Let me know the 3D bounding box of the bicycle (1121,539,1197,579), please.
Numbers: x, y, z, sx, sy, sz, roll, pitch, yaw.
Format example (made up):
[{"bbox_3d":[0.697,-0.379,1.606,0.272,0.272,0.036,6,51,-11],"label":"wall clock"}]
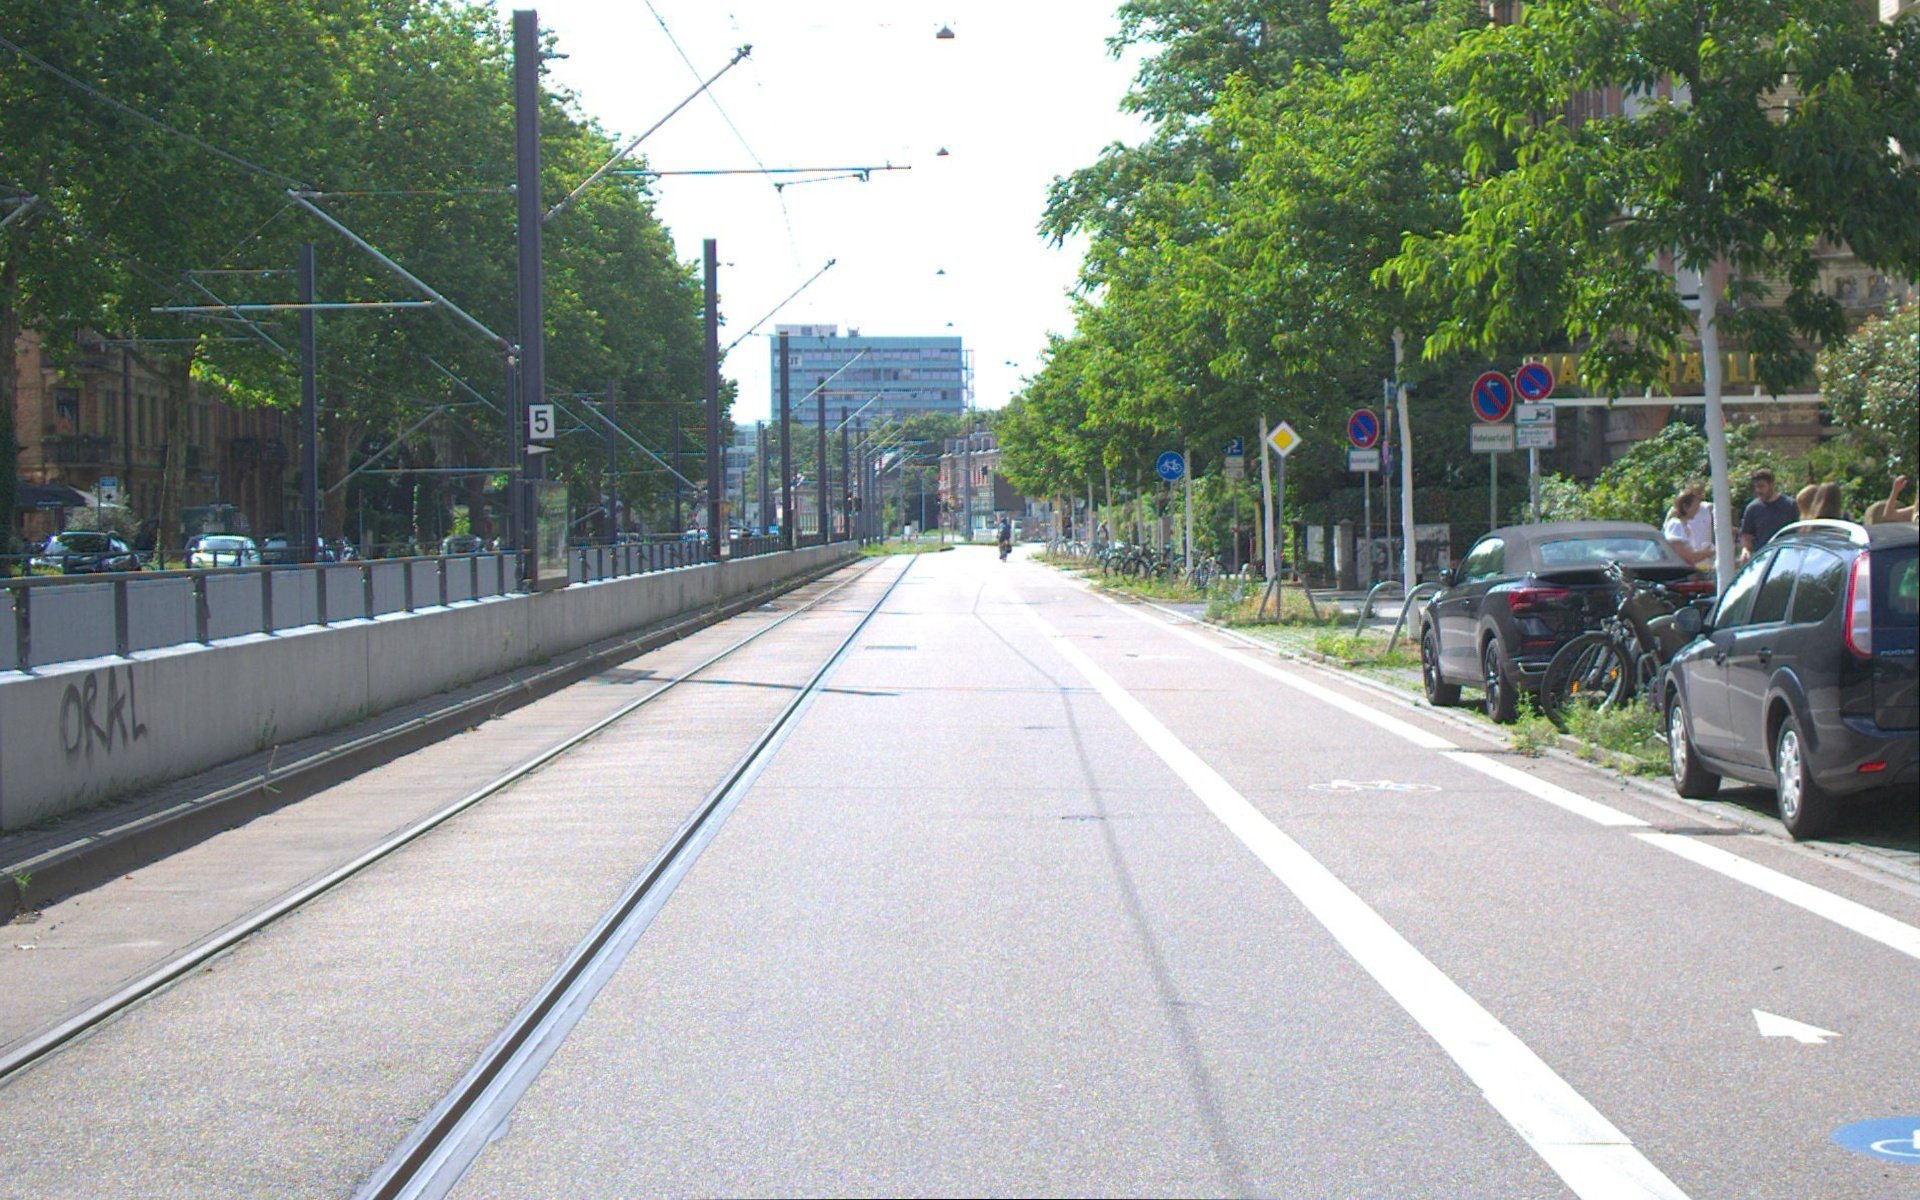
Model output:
[{"bbox_3d":[5.025,-1.035,86.848,1.816,0.899,0.652,-3,2,-3],"label":"bicycle"}]

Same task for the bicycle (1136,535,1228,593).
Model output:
[{"bbox_3d":[4.783,-0.781,74.209,1.815,1.141,0.652,-3,2,-11],"label":"bicycle"}]

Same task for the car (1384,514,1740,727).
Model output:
[{"bbox_3d":[4.808,0.098,28.087,1.798,1.521,4.490,-3,2,-4],"label":"car"}]

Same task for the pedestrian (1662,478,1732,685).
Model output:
[{"bbox_3d":[6.535,-0.168,30.490,0.459,1.798,0.319,-3,1,-2],"label":"pedestrian"}]

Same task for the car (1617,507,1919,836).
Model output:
[{"bbox_3d":[4.736,0.272,18.069,1.686,1.497,4.708,-1,1,0],"label":"car"}]

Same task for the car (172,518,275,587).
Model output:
[{"bbox_3d":[-19.836,-1.304,92.748,1.839,1.722,4.000,-3,2,0],"label":"car"}]

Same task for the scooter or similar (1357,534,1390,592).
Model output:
[{"bbox_3d":[8.446,-0.767,70.324,0.461,1.154,1.573,-2,1,0],"label":"scooter or similar"}]

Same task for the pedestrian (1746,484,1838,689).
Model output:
[{"bbox_3d":[7.084,-0.116,29.273,0.501,1.701,0.496,-4,1,-18],"label":"pedestrian"}]

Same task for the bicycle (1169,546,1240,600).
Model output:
[{"bbox_3d":[4.903,-0.536,69.037,0.649,1.035,1.822,-4,2,-21],"label":"bicycle"}]

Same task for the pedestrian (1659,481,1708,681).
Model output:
[{"bbox_3d":[6.232,-0.169,29.616,0.318,1.701,0.460,-3,1,14],"label":"pedestrian"}]

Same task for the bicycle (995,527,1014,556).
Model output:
[{"bbox_3d":[1.928,-2.575,150.194,0.799,1.232,2.778,0,1,0],"label":"bicycle"}]

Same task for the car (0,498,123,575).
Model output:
[{"bbox_3d":[-20.712,-1.468,78.525,1.994,1.631,4.000,-3,2,2],"label":"car"}]

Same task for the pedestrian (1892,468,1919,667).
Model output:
[{"bbox_3d":[8.326,-0.291,29.645,0.384,1.701,0.431,-3,1,0],"label":"pedestrian"}]

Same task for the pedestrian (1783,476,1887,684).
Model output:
[{"bbox_3d":[7.226,-0.168,28.412,0.528,1.670,0.575,-4,1,-18],"label":"pedestrian"}]

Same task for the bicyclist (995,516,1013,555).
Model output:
[{"bbox_3d":[1.916,-2.820,150.155,0.770,1.724,1.026,0,1,0],"label":"bicyclist"}]

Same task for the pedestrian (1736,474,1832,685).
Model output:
[{"bbox_3d":[7.182,-0.185,29.979,0.669,1.798,0.319,-3,1,-2],"label":"pedestrian"}]

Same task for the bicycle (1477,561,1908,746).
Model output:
[{"bbox_3d":[5.232,0.366,24.571,2.945,1.242,0.793,-1,1,-13],"label":"bicycle"}]

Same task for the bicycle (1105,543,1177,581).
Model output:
[{"bbox_3d":[4.830,-1.023,91.786,1.816,0.899,0.604,-3,2,-3],"label":"bicycle"}]

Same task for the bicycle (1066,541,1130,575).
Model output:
[{"bbox_3d":[4.136,-1.262,103.032,1.816,0.899,0.604,-3,2,-3],"label":"bicycle"}]

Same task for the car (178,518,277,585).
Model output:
[{"bbox_3d":[-20.573,-1.385,96.721,1.839,1.722,4.000,-3,2,0],"label":"car"}]
